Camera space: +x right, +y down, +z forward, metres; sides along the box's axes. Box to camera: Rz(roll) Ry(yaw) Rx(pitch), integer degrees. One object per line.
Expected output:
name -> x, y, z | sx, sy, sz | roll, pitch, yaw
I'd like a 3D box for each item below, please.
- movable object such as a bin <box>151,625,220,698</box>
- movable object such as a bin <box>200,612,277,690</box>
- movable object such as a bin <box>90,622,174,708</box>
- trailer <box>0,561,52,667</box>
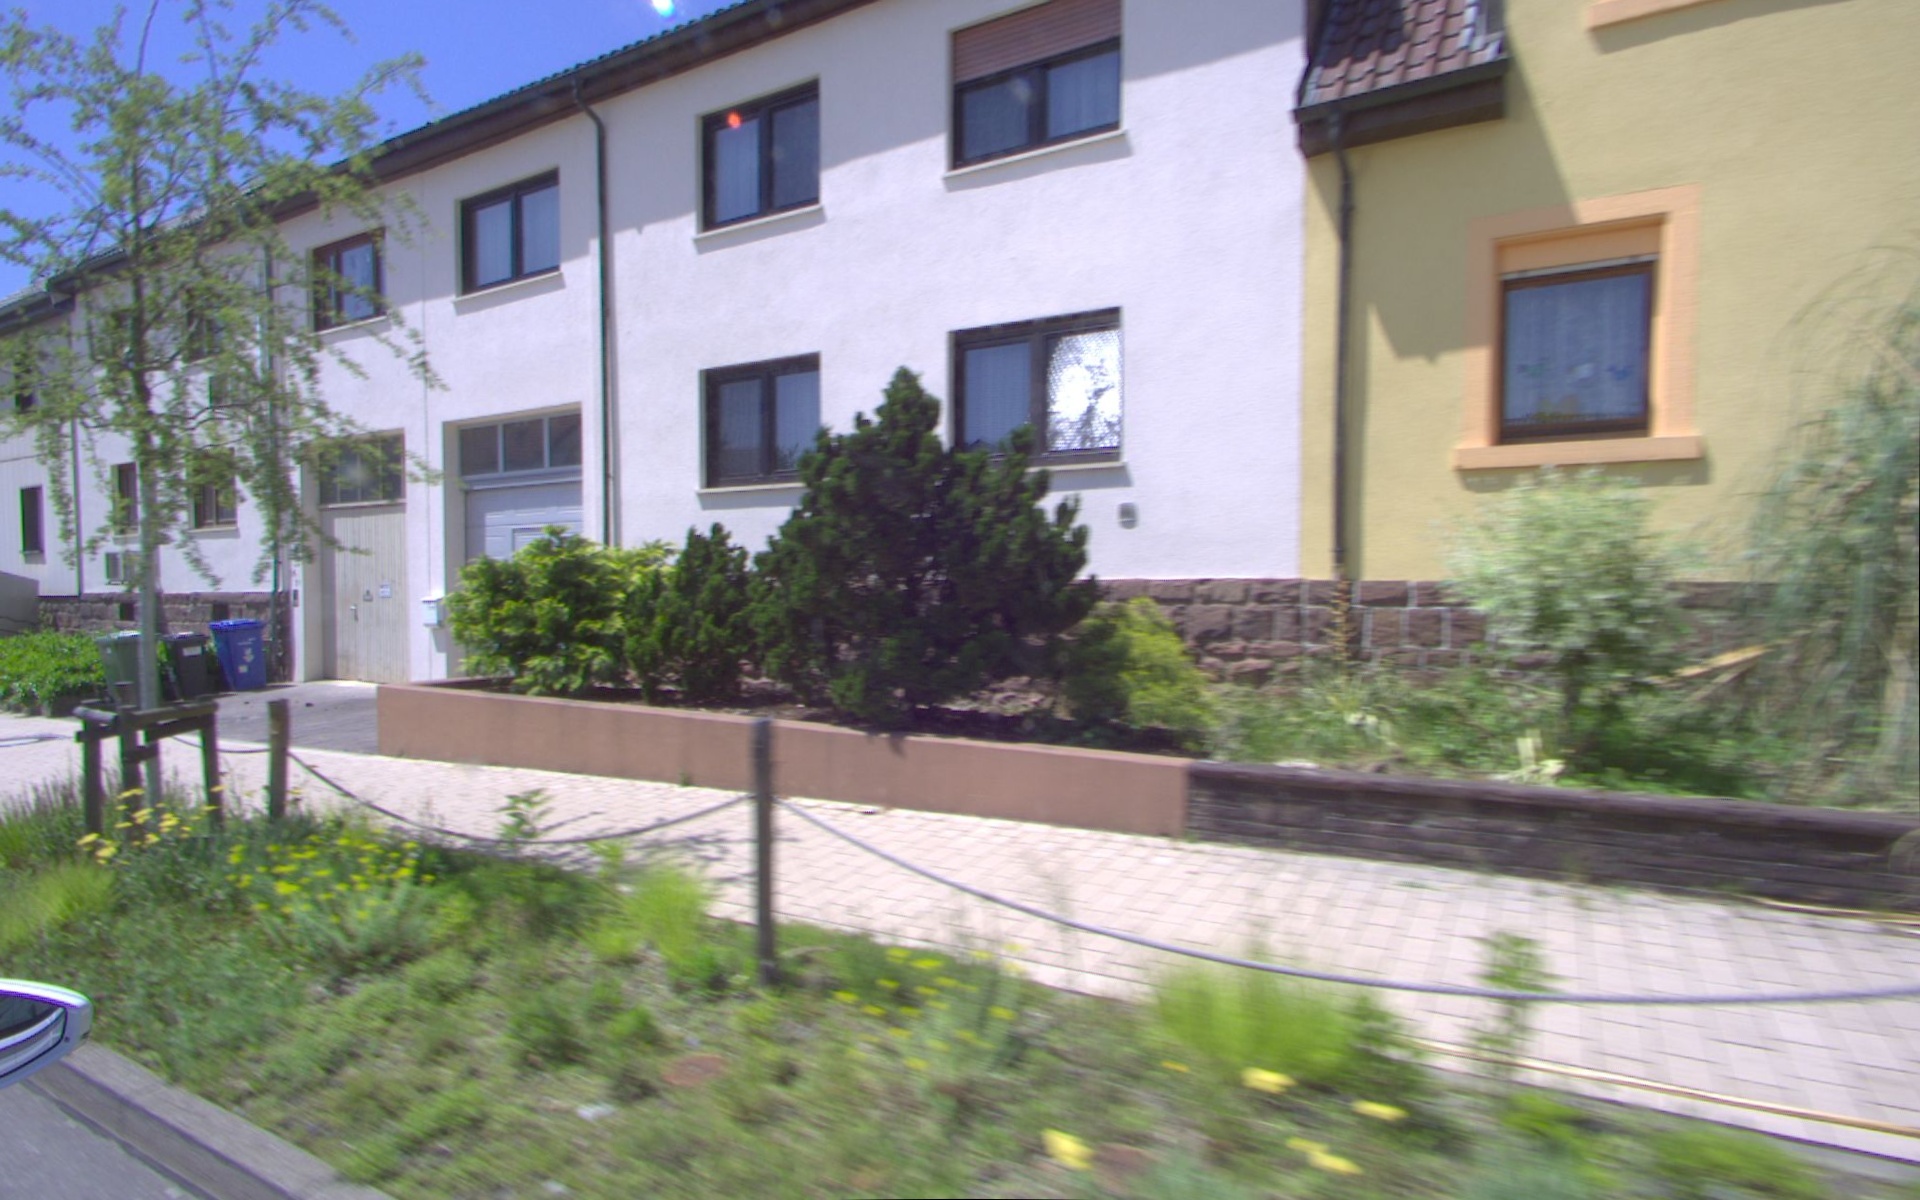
movable object such as a bin -> -11.506, 0.893, 14.876 | 0.793, 1.000, 0.555 | -1, 5, 38
movable object such as a bin -> -11.127, 0.770, 15.438 | 0.852, 1.122, 0.682 | 0, 4, 38
movable object such as a bin -> -11.759, 0.899, 14.219 | 0.802, 1.130, 0.681 | -1, 4, 37
trailer -> -19.229, 0.276, 19.573 | 1.301, 2.040, 2.270 | 0, -1, -16
